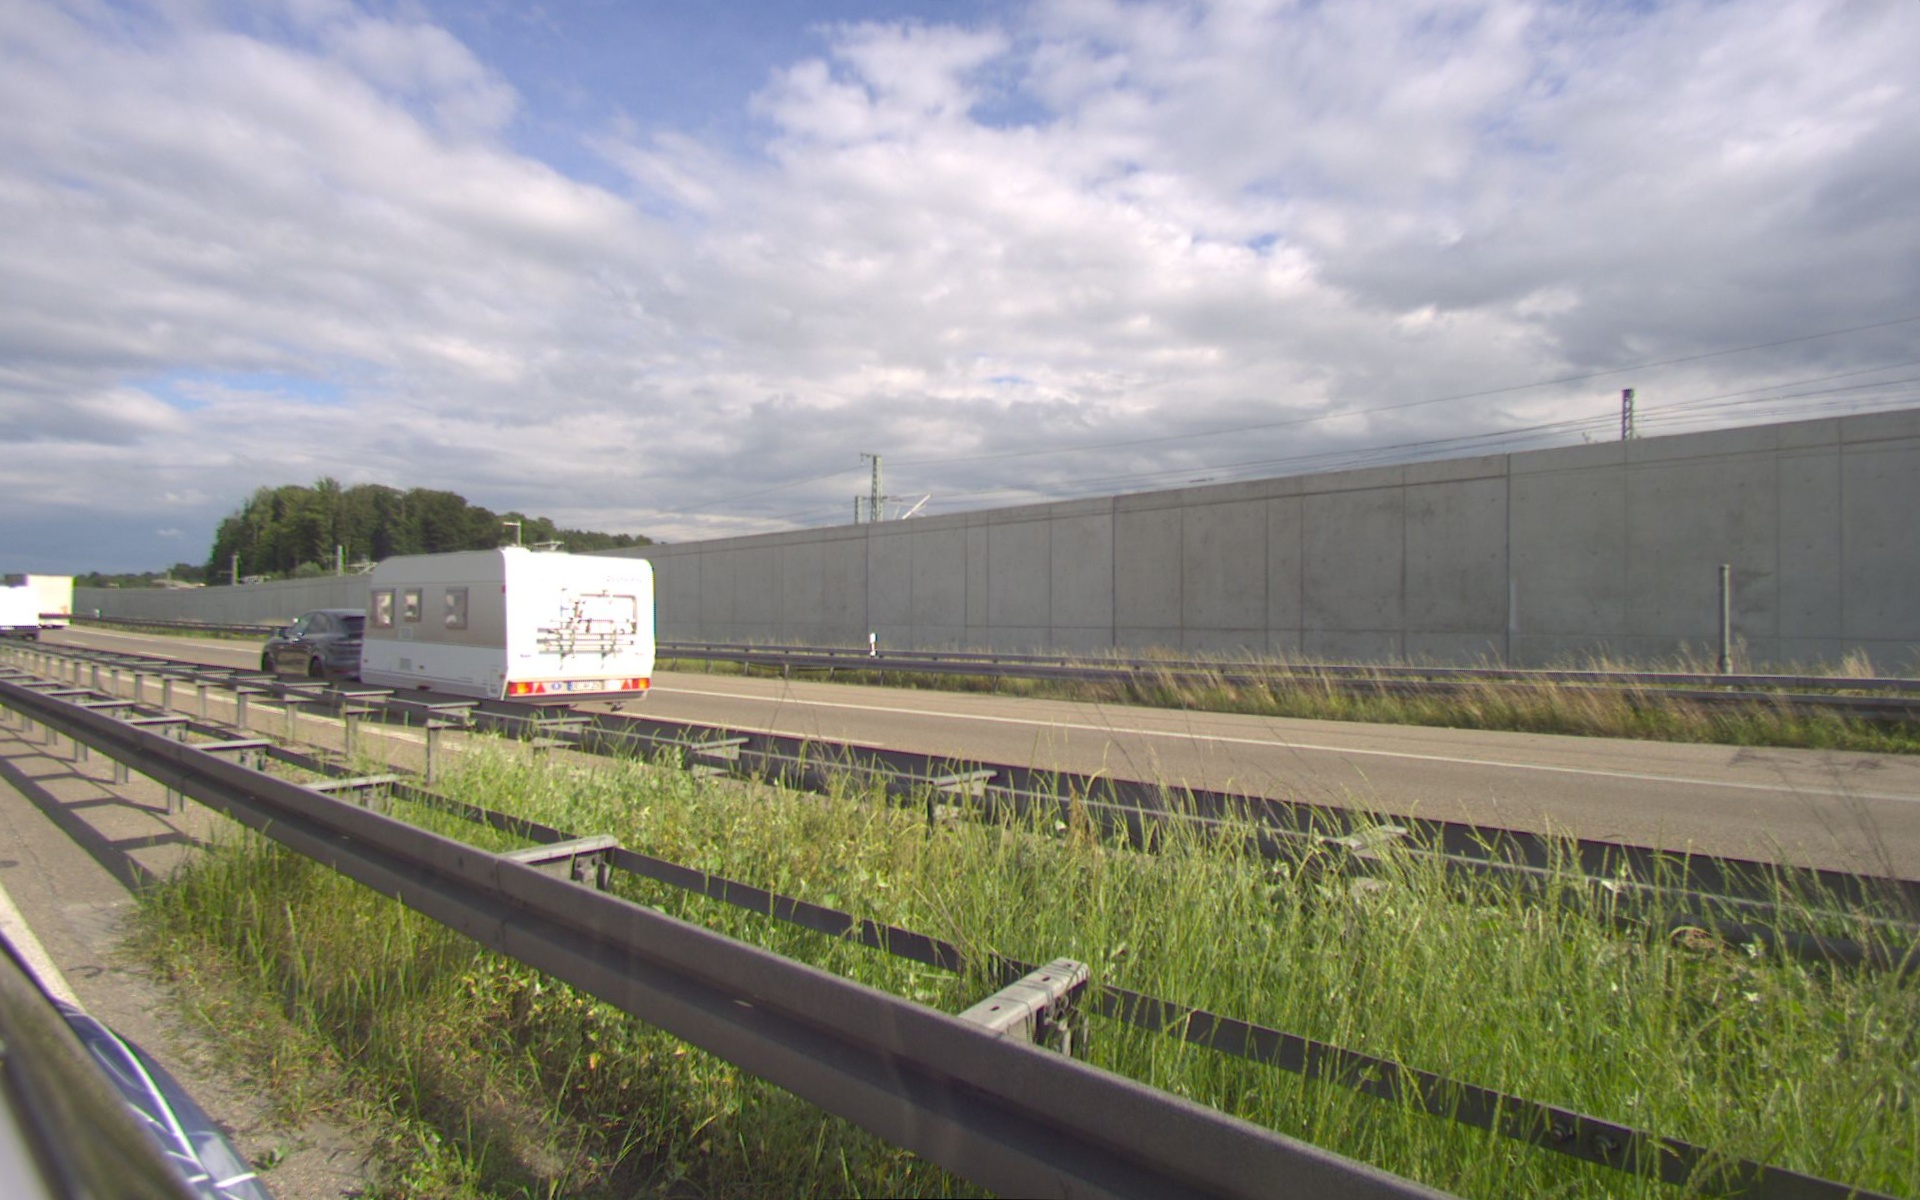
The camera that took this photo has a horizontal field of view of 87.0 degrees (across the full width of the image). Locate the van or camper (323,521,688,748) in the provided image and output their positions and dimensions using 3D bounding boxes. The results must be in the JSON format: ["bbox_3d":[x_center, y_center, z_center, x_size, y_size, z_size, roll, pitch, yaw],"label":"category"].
[{"bbox_3d":[-7.156,0.474,15.344,7.166,2.724,2.229,-1,-1,41],"label":"van or camper"}]

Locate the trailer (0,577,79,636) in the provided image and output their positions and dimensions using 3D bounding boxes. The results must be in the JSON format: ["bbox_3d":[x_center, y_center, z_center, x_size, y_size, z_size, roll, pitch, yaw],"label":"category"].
[{"bbox_3d":[-69.475,0.573,76.146,13.511,4.108,2.761,-1,-3,41],"label":"trailer"}]

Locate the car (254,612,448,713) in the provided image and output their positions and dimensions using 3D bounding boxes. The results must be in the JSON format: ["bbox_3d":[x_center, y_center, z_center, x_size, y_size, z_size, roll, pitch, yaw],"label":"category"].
[{"bbox_3d":[-11.585,1.093,19.148,4.359,1.684,1.891,-1,-1,41],"label":"car"}]

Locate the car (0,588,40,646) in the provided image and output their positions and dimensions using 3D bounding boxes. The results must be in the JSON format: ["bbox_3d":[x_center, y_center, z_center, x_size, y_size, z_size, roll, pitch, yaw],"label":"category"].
[{"bbox_3d":[-49.752,0.913,52.693,5.633,2.892,2.082,-1,-1,41],"label":"car"}]
